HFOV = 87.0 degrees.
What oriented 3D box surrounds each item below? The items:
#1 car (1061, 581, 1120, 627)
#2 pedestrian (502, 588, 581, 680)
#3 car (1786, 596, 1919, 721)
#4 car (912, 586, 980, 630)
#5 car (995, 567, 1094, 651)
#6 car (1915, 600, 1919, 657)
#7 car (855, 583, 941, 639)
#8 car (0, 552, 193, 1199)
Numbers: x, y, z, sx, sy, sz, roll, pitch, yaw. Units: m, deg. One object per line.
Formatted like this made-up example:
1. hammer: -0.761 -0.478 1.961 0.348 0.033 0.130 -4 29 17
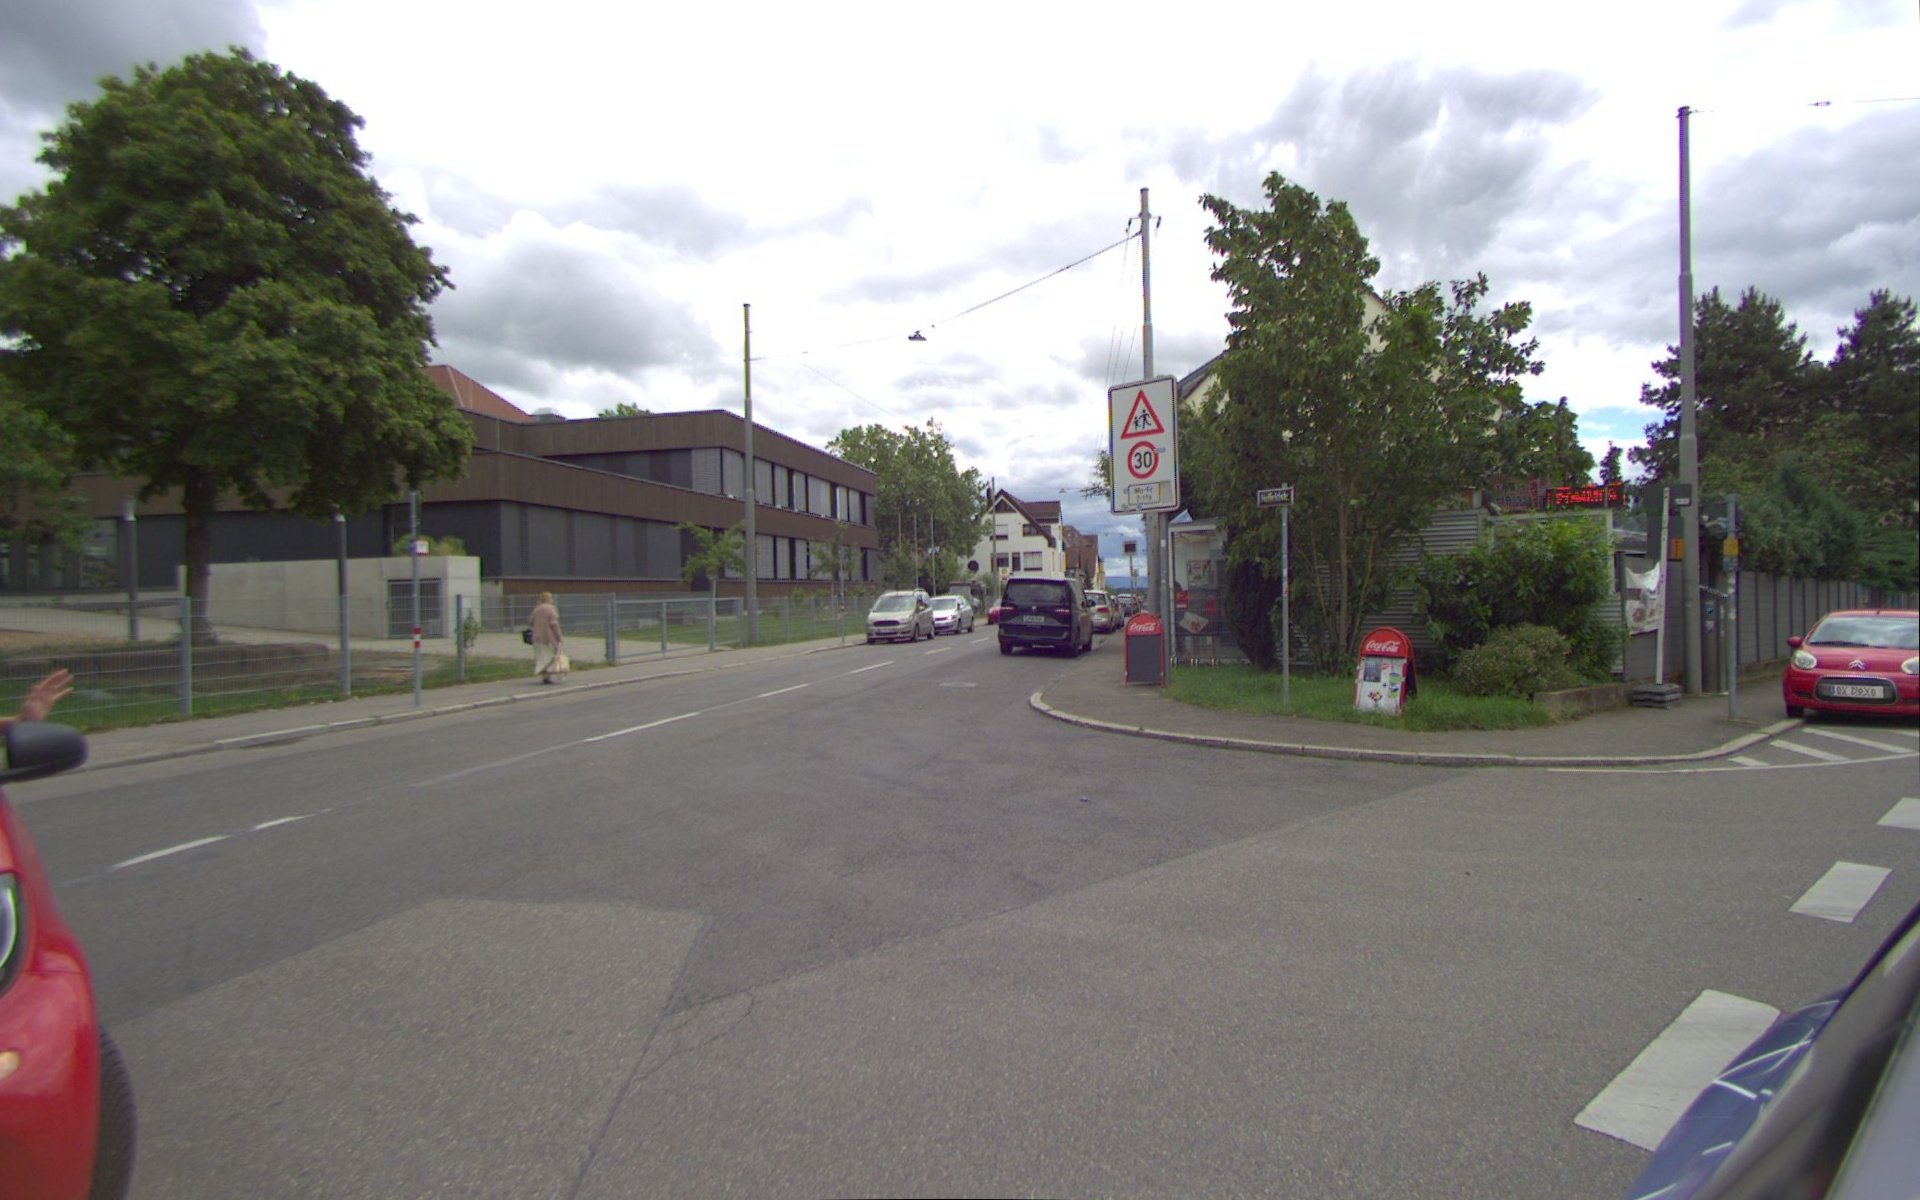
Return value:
1. car: 5.151 0.123 39.537 1.969 1.694 4.378 0 1 11
2. pedestrian: -7.280 0.579 17.652 0.887 1.555 0.956 -1 0 13
3. car: 12.912 0.707 13.919 3.929 1.499 1.718 0 0 -40
4. car: -0.493 0.267 40.346 1.968 1.625 4.381 0 1 10
5. car: 2.202 0.172 25.173 1.969 1.901 4.378 0 1 11
6. car: 20.900 0.695 20.440 3.929 1.500 1.817 0 -3 -40
7. car: -2.003 0.312 34.152 1.968 1.763 4.381 0 1 10
8. car: -3.182 0.678 2.267 2.927 1.539 1.793 0 0 41
